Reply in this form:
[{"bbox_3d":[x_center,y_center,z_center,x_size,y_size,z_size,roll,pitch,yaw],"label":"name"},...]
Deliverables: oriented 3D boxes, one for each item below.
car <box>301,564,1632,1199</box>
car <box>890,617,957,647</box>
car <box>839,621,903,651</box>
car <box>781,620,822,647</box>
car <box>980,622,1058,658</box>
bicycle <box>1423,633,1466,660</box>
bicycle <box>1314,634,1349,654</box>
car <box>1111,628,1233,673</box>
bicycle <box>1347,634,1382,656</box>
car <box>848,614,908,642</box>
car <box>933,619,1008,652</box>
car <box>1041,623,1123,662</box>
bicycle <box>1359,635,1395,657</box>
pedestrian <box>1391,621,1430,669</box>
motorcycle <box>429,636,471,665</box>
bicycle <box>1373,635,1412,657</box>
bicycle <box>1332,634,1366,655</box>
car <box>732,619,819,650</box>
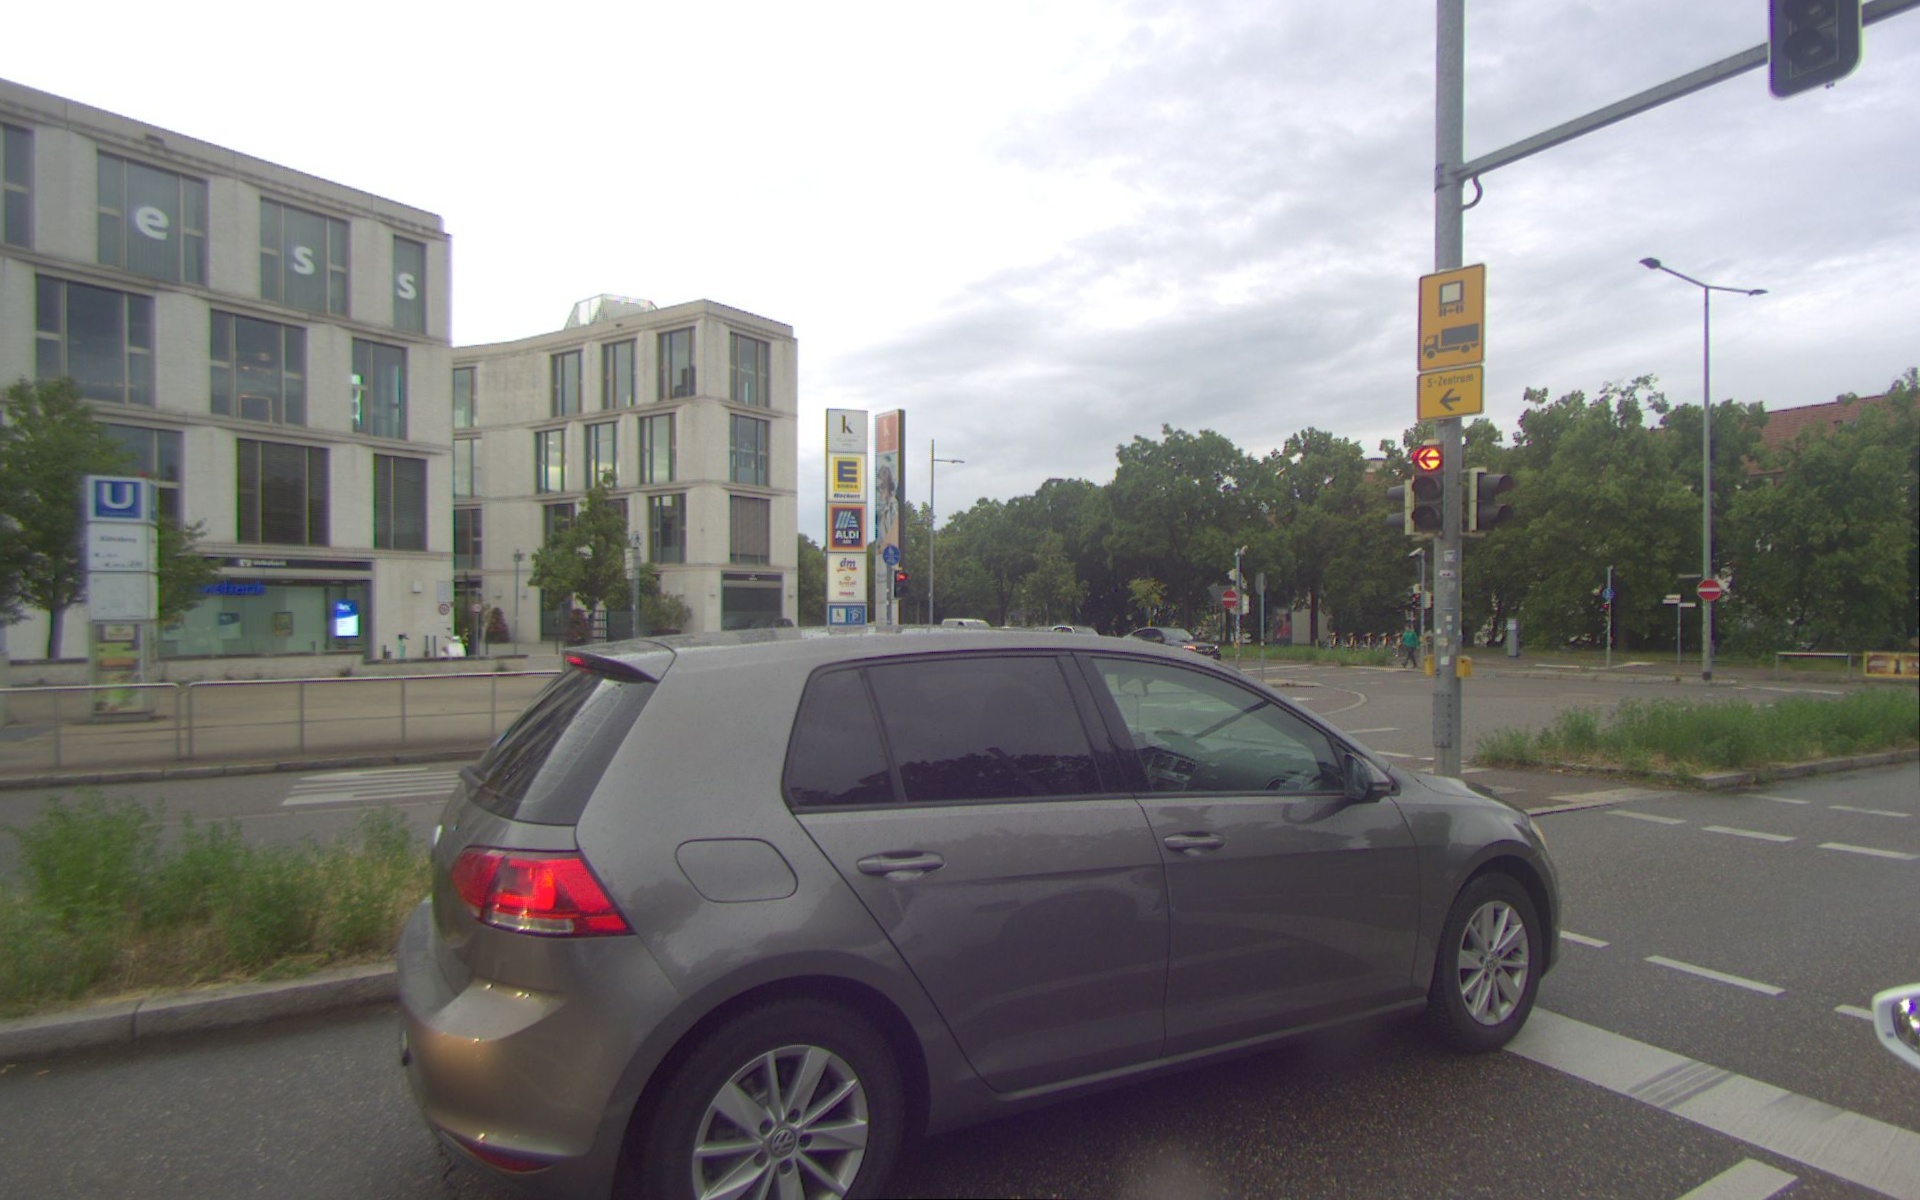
[{"bbox_3d":[0.306,0.751,3.593,4.325,1.501,1.807,2,-1,-30],"label":"car"},{"bbox_3d":[-2.261,1.887,60.389,1.976,1.615,4.855,2,0,-29],"label":"car"},{"bbox_3d":[-5.333,2.113,59.693,1.976,1.615,4.855,2,0,-29],"label":"car"},{"bbox_3d":[-12.755,2.668,80.683,1.976,2.040,3.969,1,-1,-29],"label":"car"},{"bbox_3d":[2.939,1.996,50.905,1.976,1.615,4.185,2,0,-29],"label":"car"},{"bbox_3d":[23.756,2.281,49.258,1.959,1.266,0.986,2,0,-30],"label":"bicycle"},{"bbox_3d":[20.264,2.405,54.761,1.959,1.085,0.649,2,0,-30],"label":"bicycle"},{"bbox_3d":[8.392,1.966,40.236,1.976,1.520,5.001,2,0,-29],"label":"car"},{"bbox_3d":[21.368,2.380,53.031,1.959,1.085,0.649,2,0,-30],"label":"bicycle"},{"bbox_3d":[-5.463,1.818,66.108,1.977,1.615,4.852,2,0,-31],"label":"car"},{"bbox_3d":[0.528,1.946,55.401,1.976,1.615,4.855,2,0,-29],"label":"car"},{"bbox_3d":[5.553,1.910,46.022,1.976,1.615,3.536,2,0,-30],"label":"car"},{"bbox_3d":[21.669,2.397,52.171,1.959,1.085,0.649,2,0,-30],"label":"bicycle"},{"bbox_3d":[16.825,1.663,37.544,0.933,1.750,0.920,2,0,-25],"label":"pedestrian"},{"bbox_3d":[-14.166,1.388,27.887,1.081,0.750,0.522,2,0,29],"label":"motorcycle"},{"bbox_3d":[22.239,2.363,51.646,1.959,1.085,0.798,2,0,-30],"label":"bicycle"},{"bbox_3d":[20.934,2.391,54.031,1.959,1.085,0.649,2,0,-30],"label":"bicycle"},{"bbox_3d":[-9.190,1.717,50.313,1.968,1.483,3.985,0,-2,37],"label":"car"}]
